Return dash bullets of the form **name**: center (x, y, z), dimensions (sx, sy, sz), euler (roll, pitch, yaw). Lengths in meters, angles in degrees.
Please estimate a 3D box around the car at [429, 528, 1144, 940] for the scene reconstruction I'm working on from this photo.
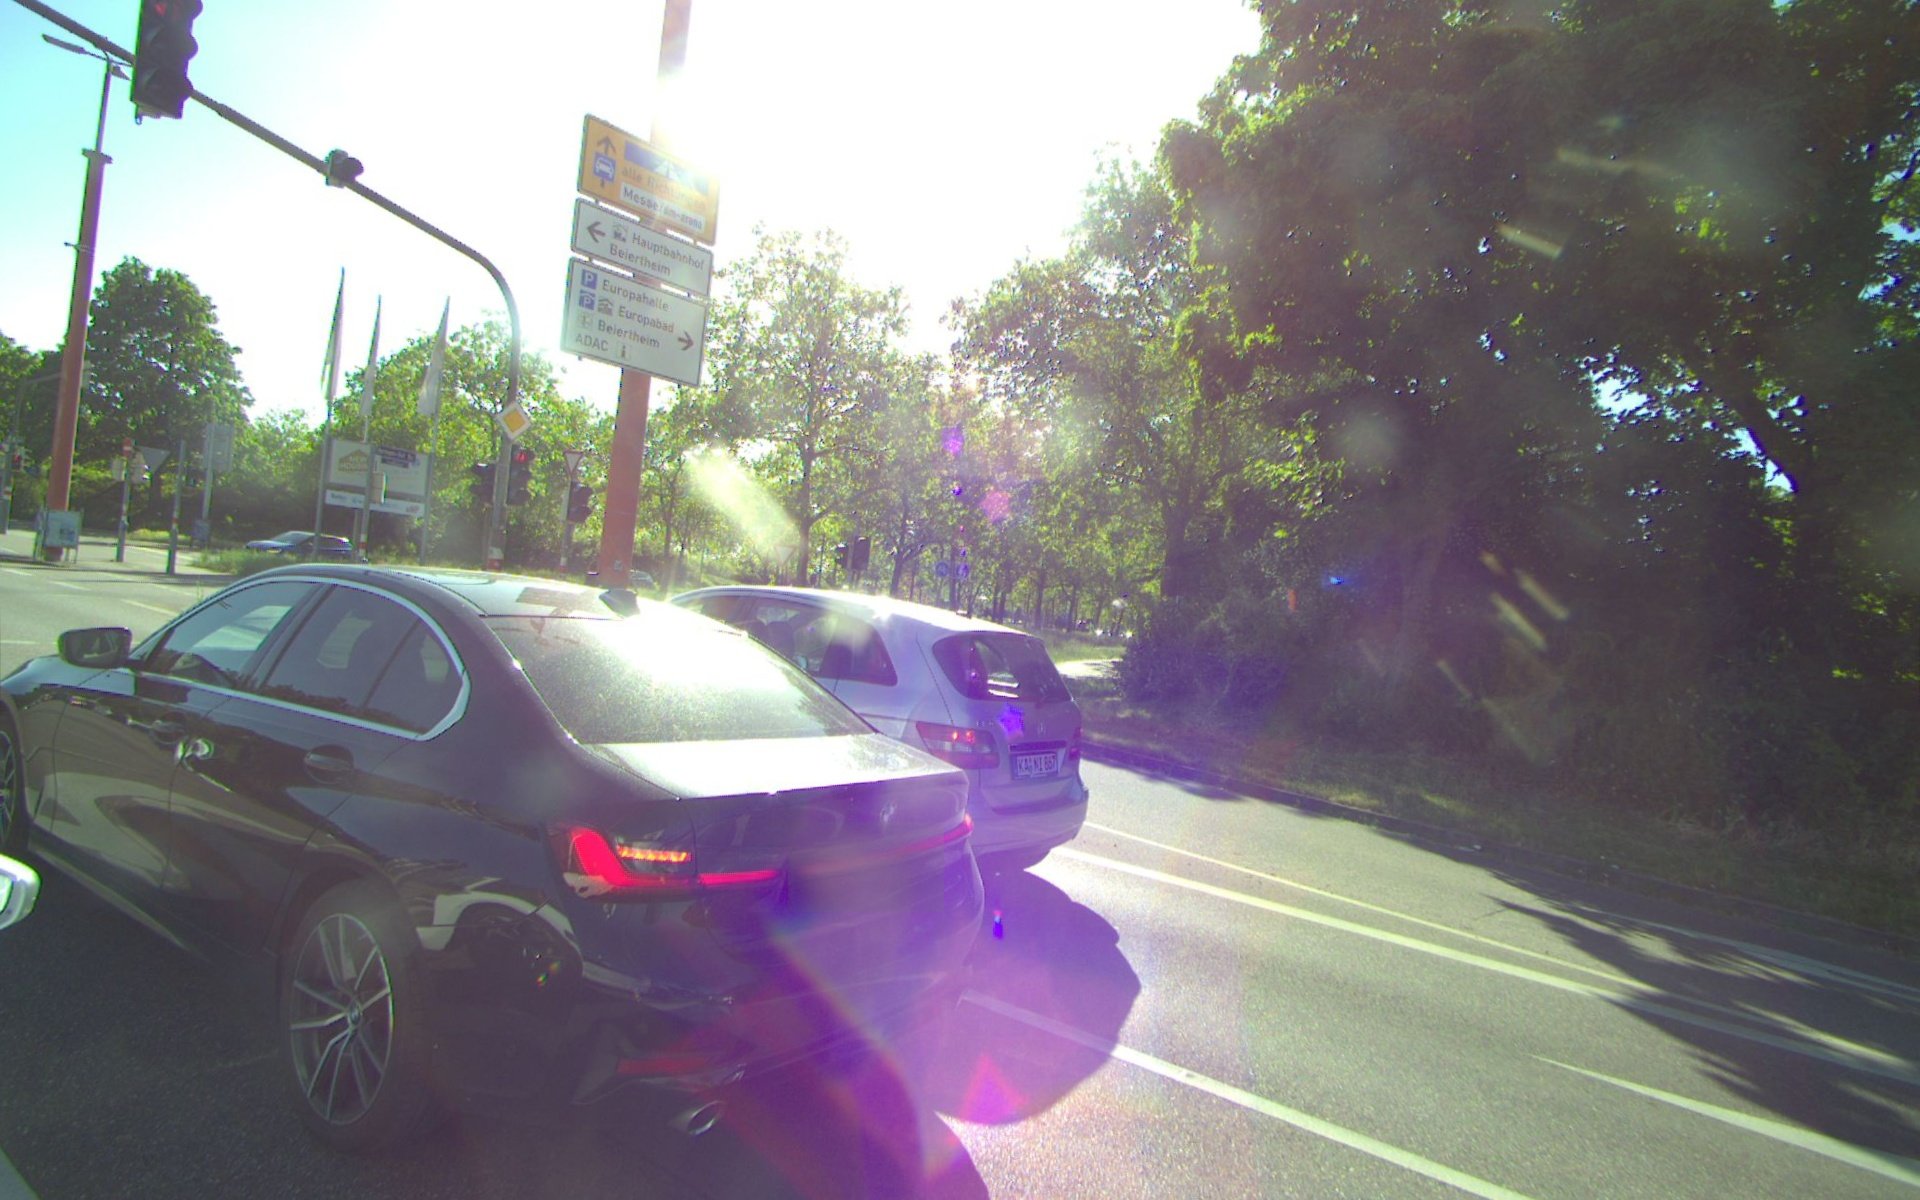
- **car**: center (-1.282, 0.644, 6.784), dimensions (4.403, 1.706, 1.970), euler (7, -1, 32)

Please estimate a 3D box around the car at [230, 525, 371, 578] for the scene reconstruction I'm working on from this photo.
- **car**: center (-24.994, -1.793, 38.336), dimensions (1.848, 1.445, 4.283), euler (7, -1, 14)

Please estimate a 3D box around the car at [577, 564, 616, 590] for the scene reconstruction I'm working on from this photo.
- **car**: center (-26.942, -1.740, 74.445), dimensions (2.139, 1.592, 4.555), euler (7, -1, -25)

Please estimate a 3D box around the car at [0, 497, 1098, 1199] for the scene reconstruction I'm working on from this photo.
- **car**: center (-1.960, 0.532, 3.877), dimensions (4.403, 1.411, 1.996), euler (7, 0, 32)

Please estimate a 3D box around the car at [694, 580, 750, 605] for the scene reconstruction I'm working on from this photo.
- **car**: center (-20.973, -0.641, 88.912), dimensions (2.136, 1.592, 4.260), euler (7, -1, 42)
